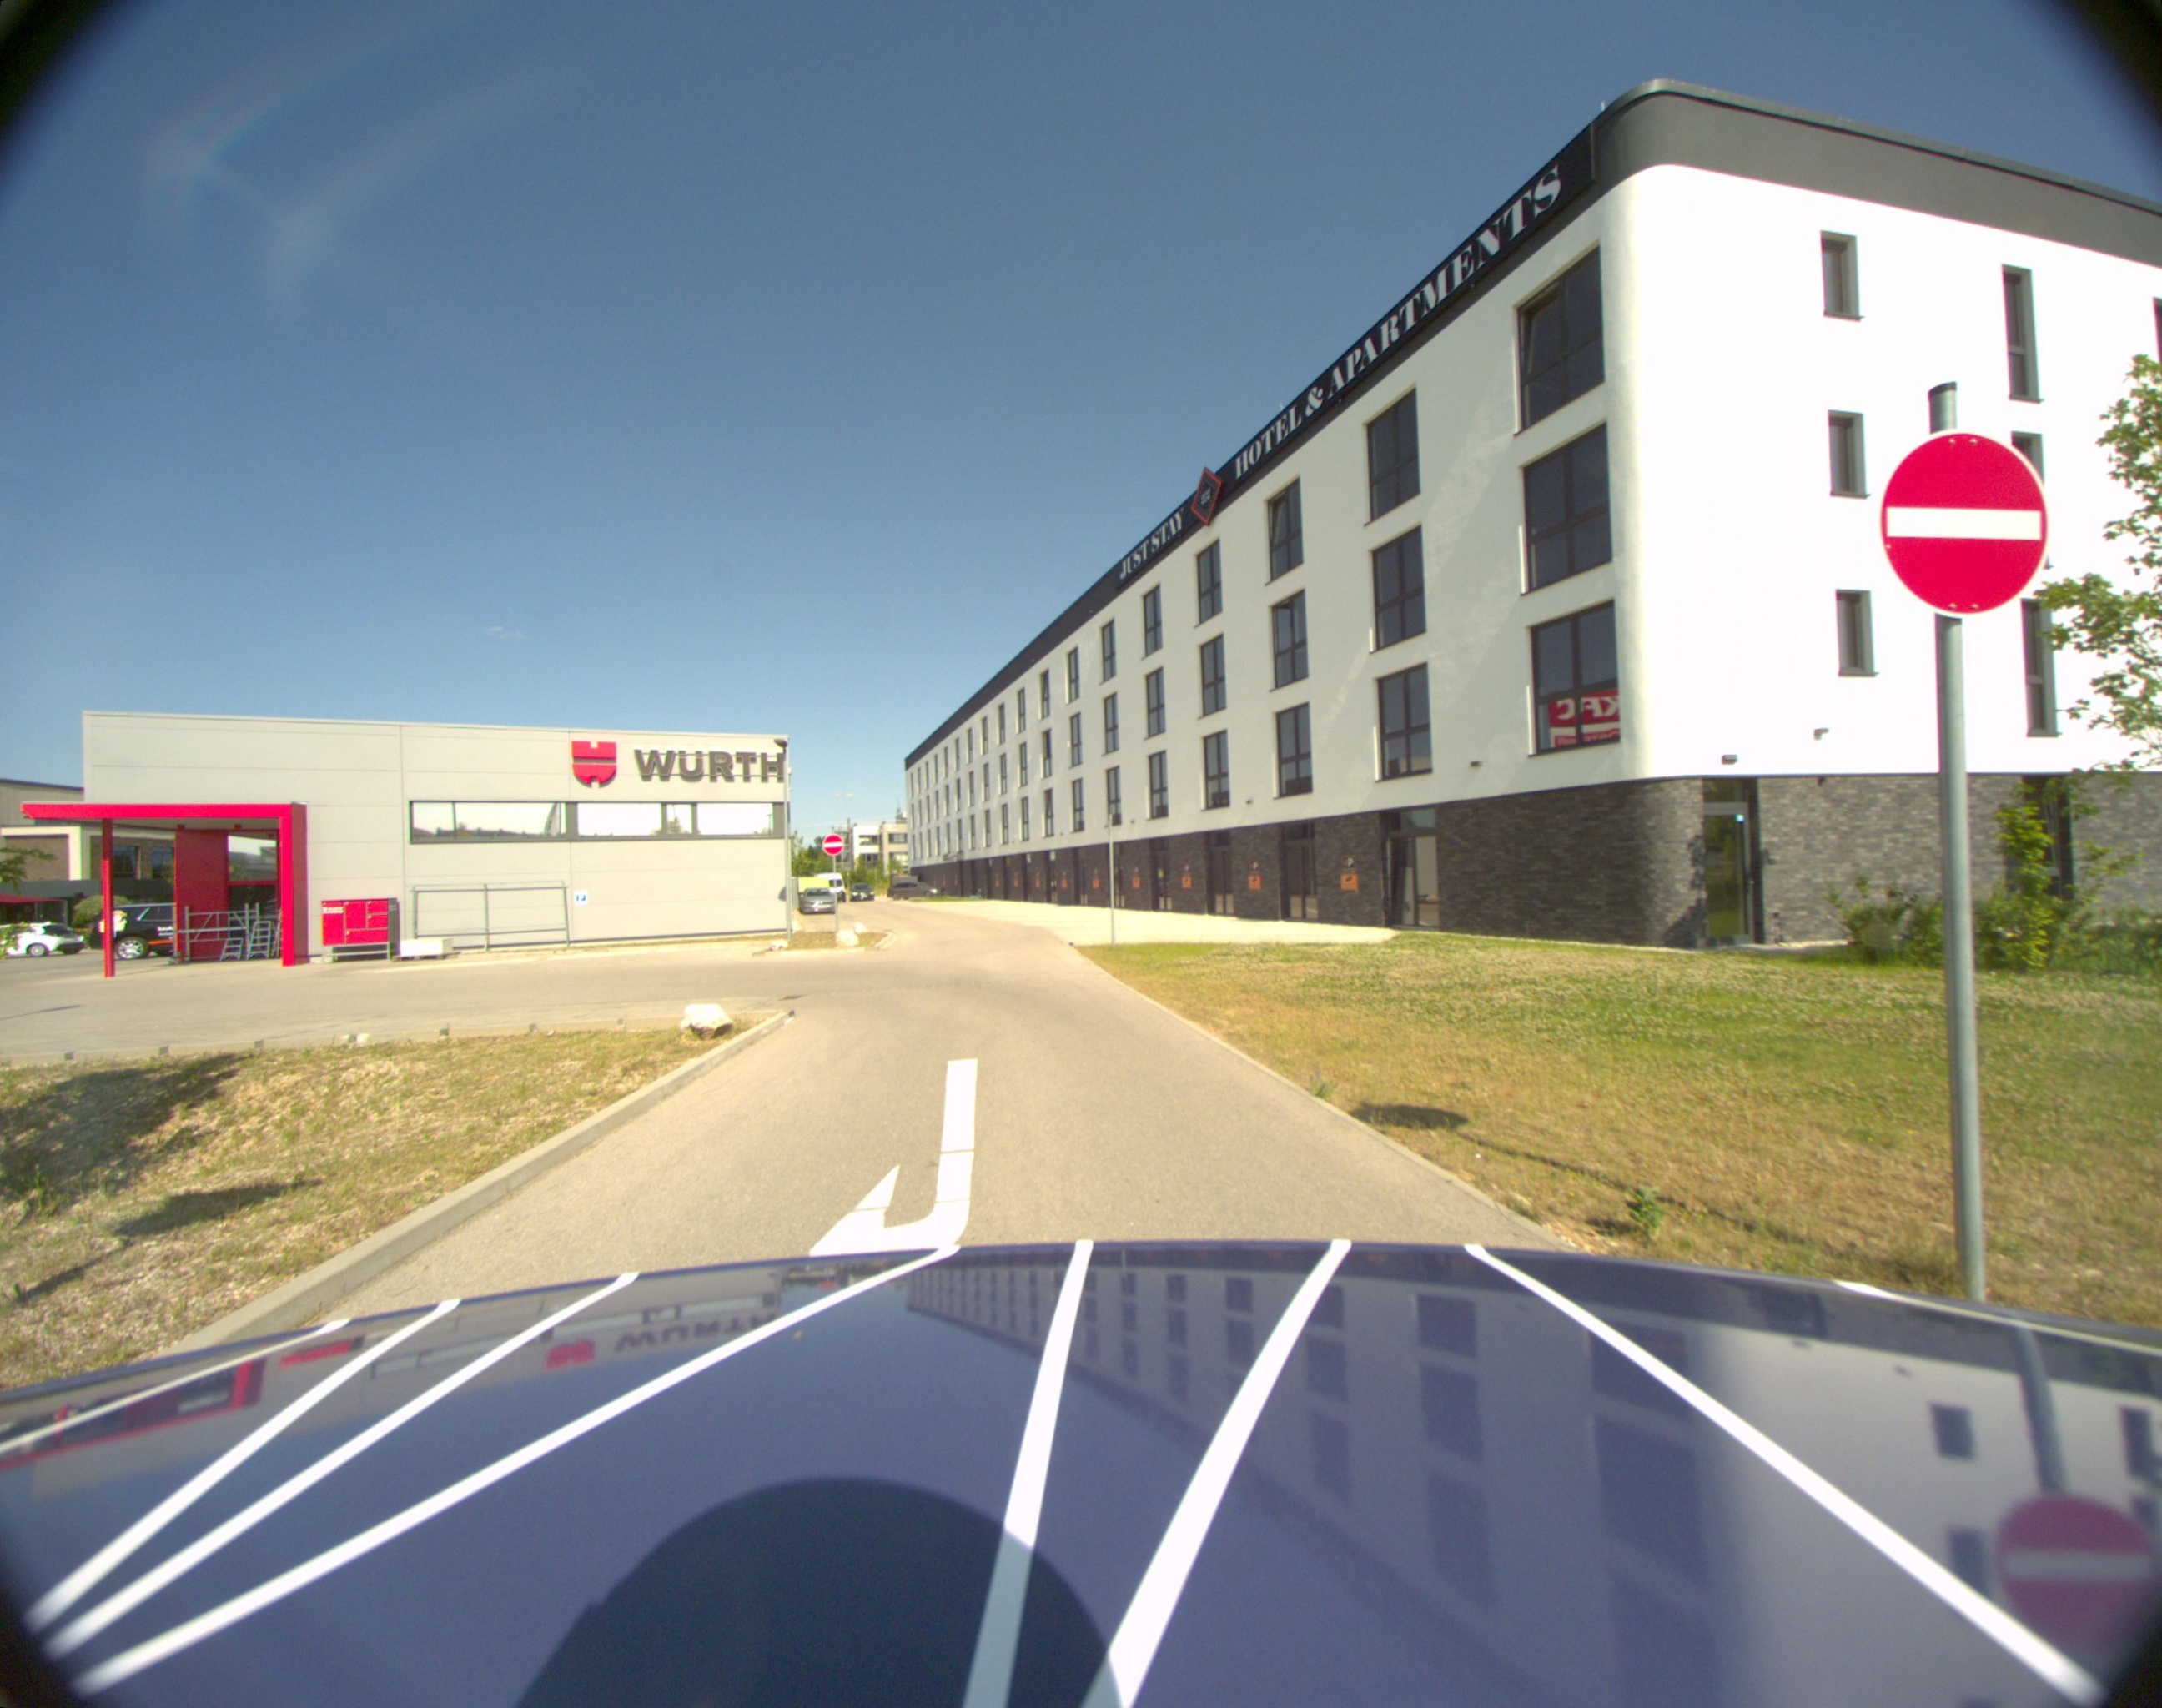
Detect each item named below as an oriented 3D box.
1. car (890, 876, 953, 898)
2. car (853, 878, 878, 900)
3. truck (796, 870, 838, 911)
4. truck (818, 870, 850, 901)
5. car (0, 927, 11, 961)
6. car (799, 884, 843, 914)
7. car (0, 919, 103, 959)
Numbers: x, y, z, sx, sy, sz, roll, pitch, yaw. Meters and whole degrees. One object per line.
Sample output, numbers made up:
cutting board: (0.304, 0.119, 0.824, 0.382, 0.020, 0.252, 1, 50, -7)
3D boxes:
car: (-12.769, 2.646, 60.767, 4.517, 1.499, 1.882, -3, -1, 14)
car: (-18.021, 2.882, 63.385, 1.720, 1.608, 3.994, -2, 0, -19)
truck: (-16.996, 2.294, 48.675, 2.126, 2.362, 5.881, -2, -1, -22)
truck: (-20.757, 2.630, 63.685, 2.002, 2.362, 5.881, -2, -1, -22)
car: (-44.476, 3.628, 28.794, 4.159, 1.329, 1.828, -2, -1, -23)
car: (-14.564, 2.456, 42.465, 1.881, 1.499, 3.993, -2, -1, -24)
car: (-46.325, 3.759, 33.281, 3.917, 1.465, 1.801, -2, -1, -18)
